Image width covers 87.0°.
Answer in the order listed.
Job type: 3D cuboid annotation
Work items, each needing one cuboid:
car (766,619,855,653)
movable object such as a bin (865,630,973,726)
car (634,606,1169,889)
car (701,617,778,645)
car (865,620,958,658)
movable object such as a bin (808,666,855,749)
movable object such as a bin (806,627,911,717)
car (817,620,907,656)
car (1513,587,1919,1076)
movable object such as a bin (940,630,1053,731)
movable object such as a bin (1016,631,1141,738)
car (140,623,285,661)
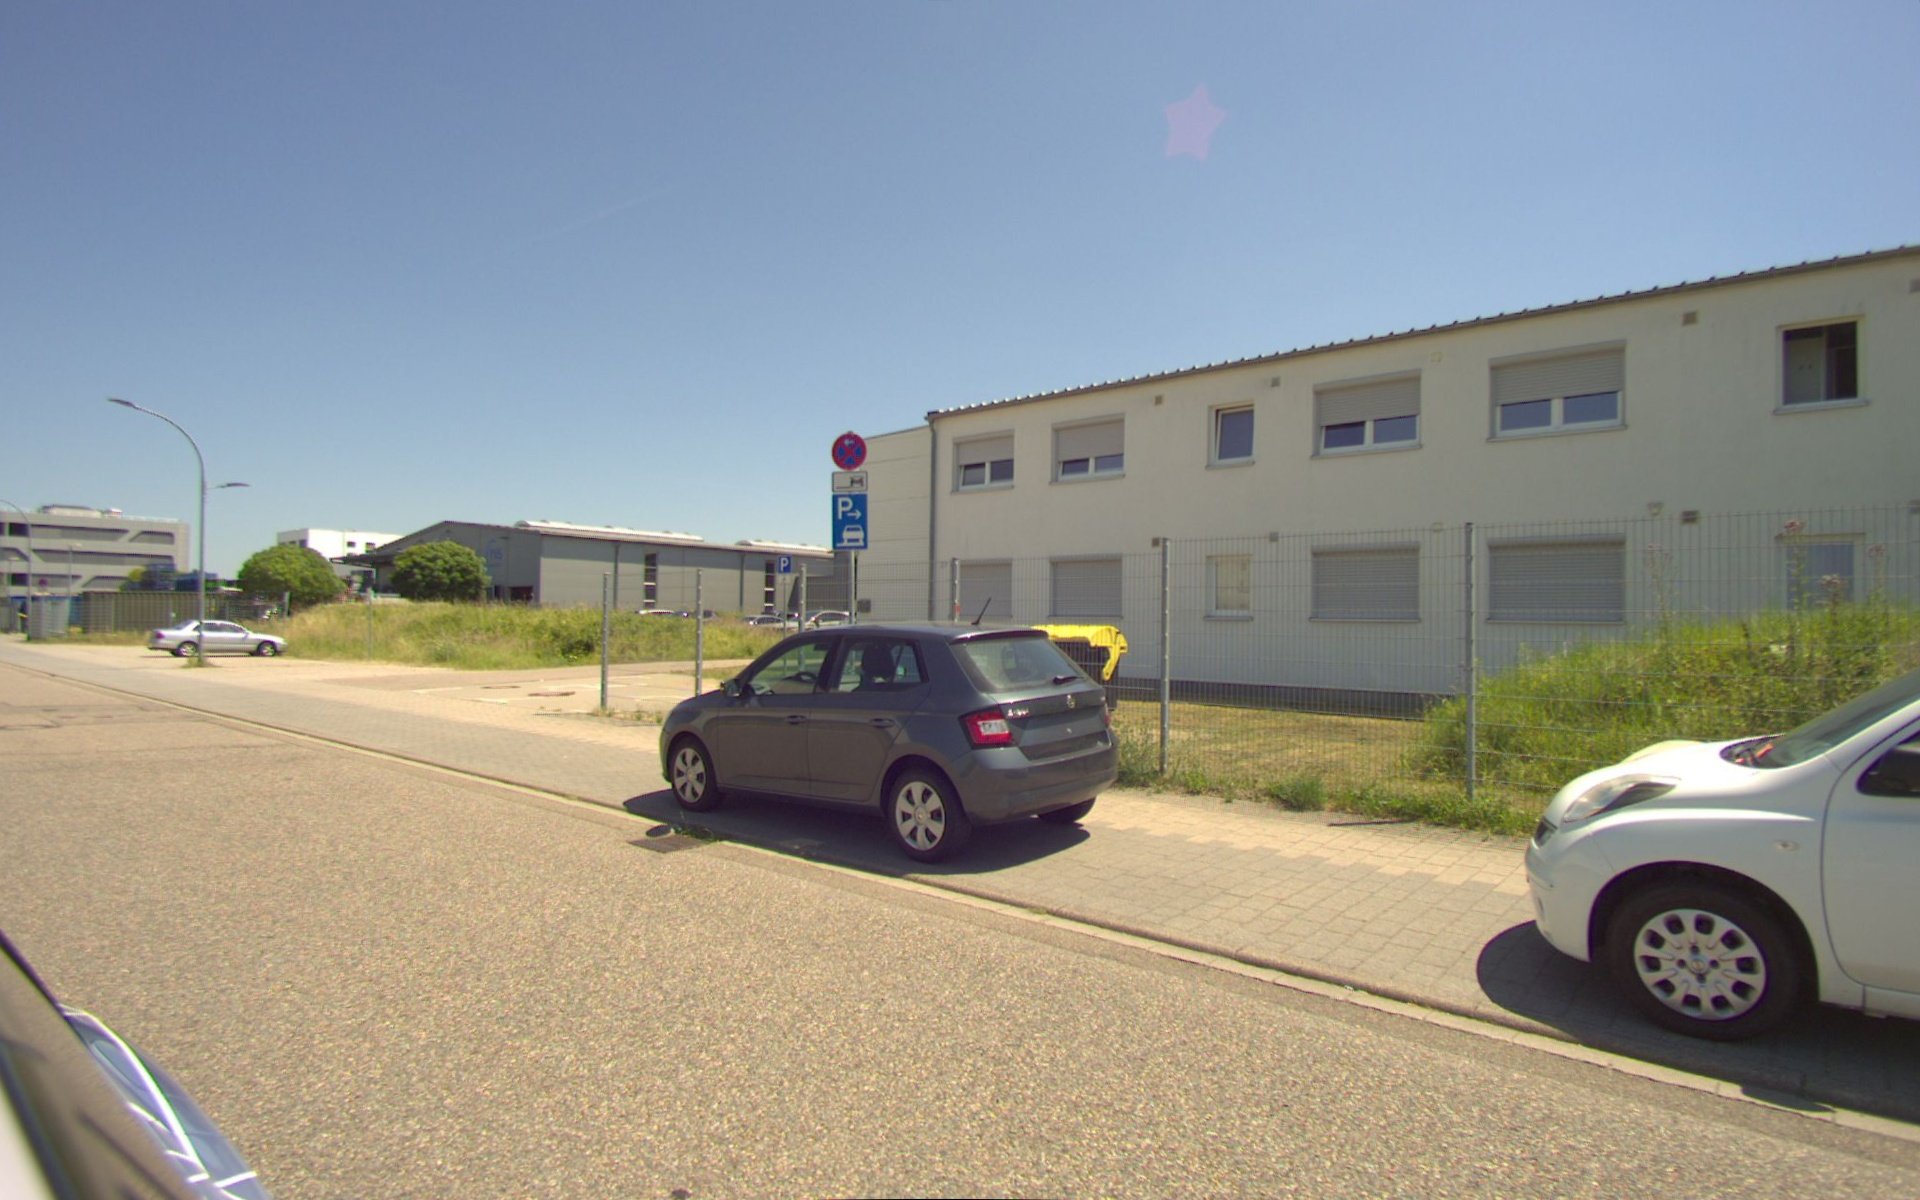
[{"bbox_3d":[-6.736,1.598,45.868,1.737,1.408,3.839,0,0,40],"label":"car"},{"bbox_3d":[-0.672,1.226,16.483,1.371,1.459,1.112,-1,-2,44],"label":"movable object such as a bin"},{"bbox_3d":[-0.601,0.828,7.465,3.908,1.541,1.656,0,-1,41],"label":"car"},{"bbox_3d":[-11.988,1.644,55.167,1.737,1.408,3.839,0,0,40],"label":"car"},{"bbox_3d":[-1.992,1.598,42.240,1.737,1.408,3.839,0,0,40],"label":"car"},{"bbox_3d":[-1.552,1.283,12.208,0.497,0.947,0.301,-1,-2,44],"label":"movable object such as a bin"},{"bbox_3d":[-1.761,1.202,17.502,1.434,1.459,1.130,-1,-2,44],"label":"movable object such as a bin"},{"bbox_3d":[-4.286,1.648,44.576,1.737,1.408,3.839,0,0,40],"label":"car"},{"bbox_3d":[4.110,0.729,3.342,3.756,1.541,1.656,0,-1,41],"label":"car"},{"bbox_3d":[0.564,1.197,15.616,1.385,1.459,1.078,0,-2,33],"label":"movable object such as a bin"},{"bbox_3d":[1.694,1.167,14.540,1.388,1.416,1.130,-1,-2,43],"label":"movable object such as a bin"},{"bbox_3d":[-28.920,1.642,39.252,1.862,1.390,4.201,-1,-3,42],"label":"car"}]
